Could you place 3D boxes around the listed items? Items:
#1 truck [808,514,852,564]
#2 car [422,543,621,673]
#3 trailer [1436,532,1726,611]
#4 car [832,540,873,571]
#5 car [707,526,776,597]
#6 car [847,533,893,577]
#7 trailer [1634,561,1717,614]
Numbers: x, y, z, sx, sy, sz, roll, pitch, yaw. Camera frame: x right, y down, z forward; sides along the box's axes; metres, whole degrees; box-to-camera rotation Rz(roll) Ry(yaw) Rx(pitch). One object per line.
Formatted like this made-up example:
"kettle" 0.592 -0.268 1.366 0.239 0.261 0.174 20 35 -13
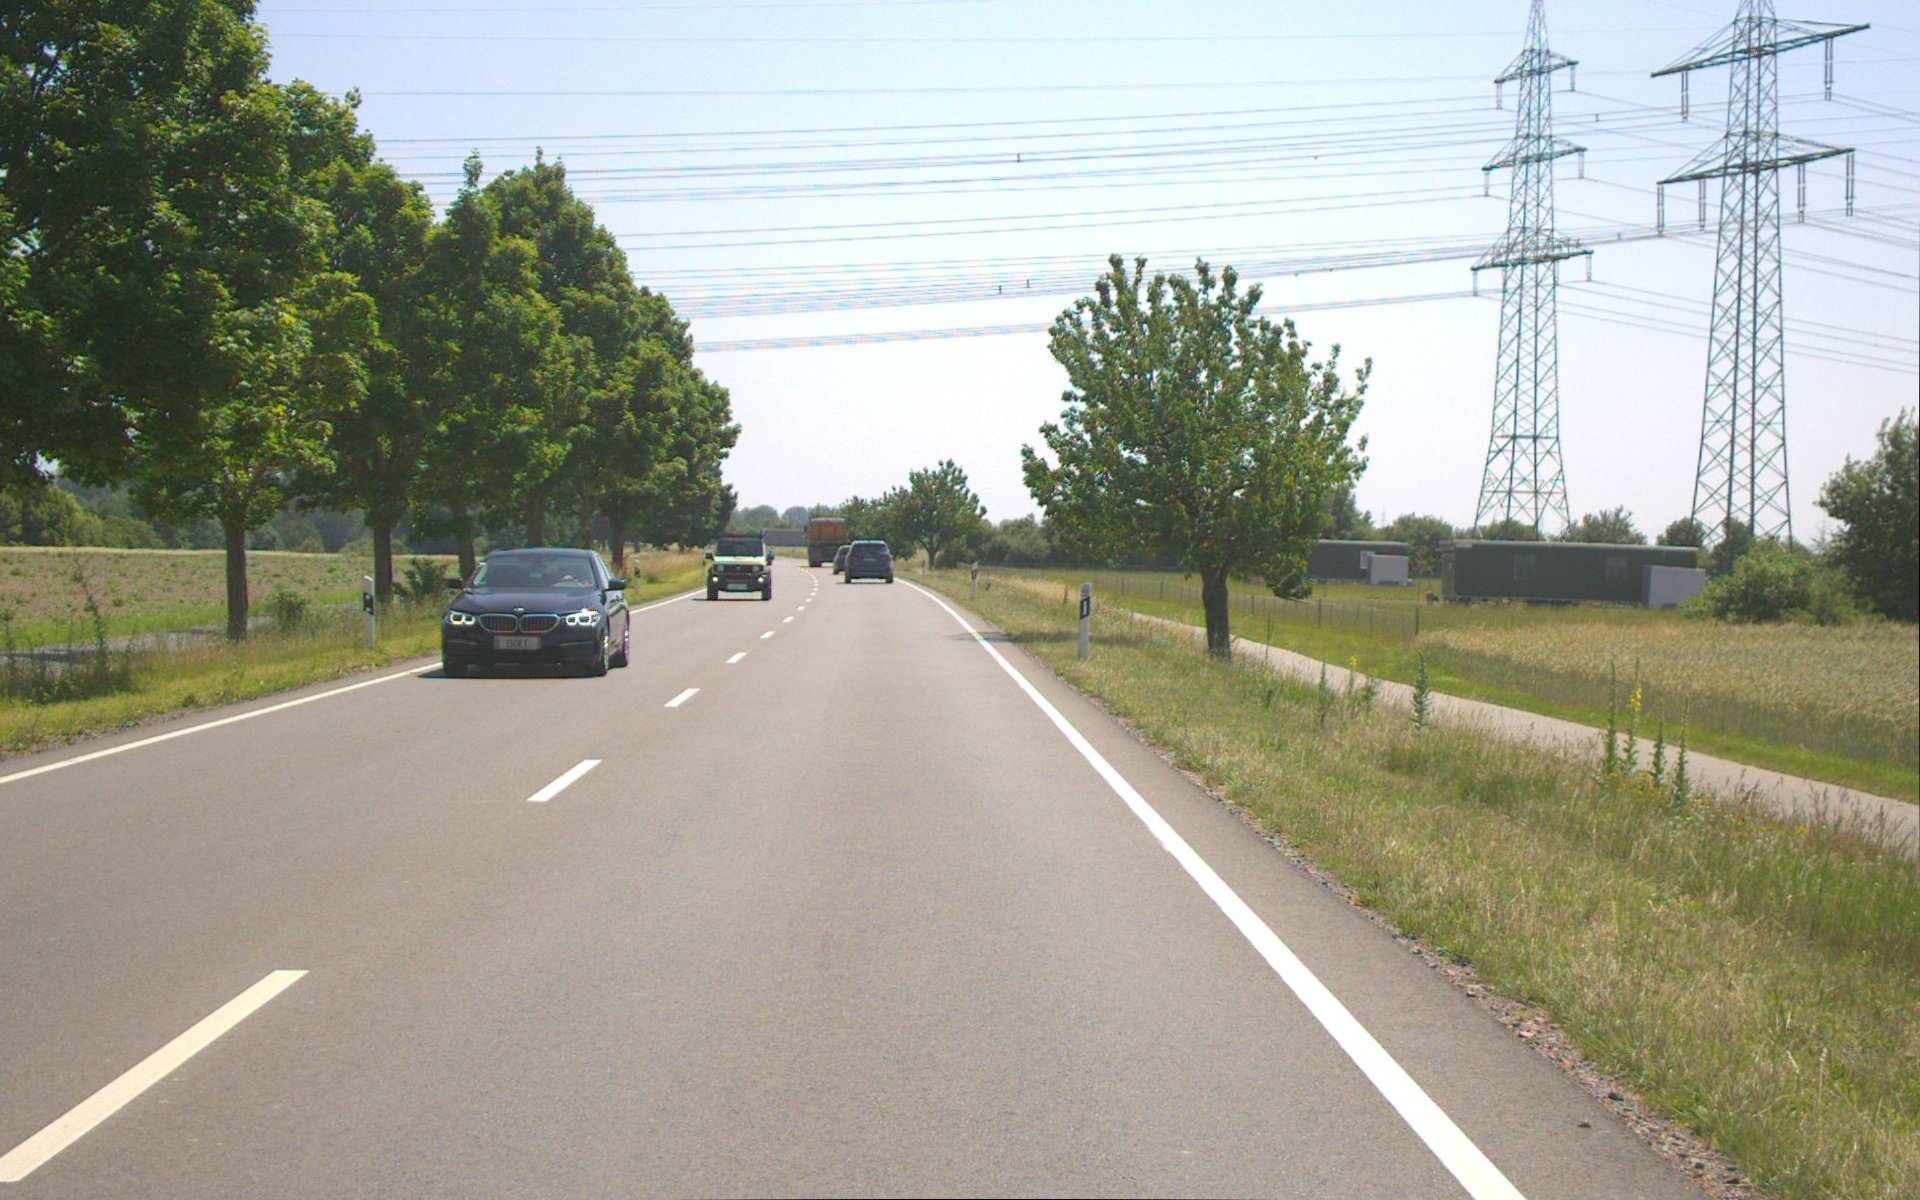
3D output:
"truck" -8.538 -4.008 225.261 2.370 3.129 8.749 1 1 -5
"car" -5.086 0.063 40.410 1.822 1.415 4.589 1 1 -1
"trailer" 30.443 -1.414 168.800 13.507 3.463 3.277 2 1 -3
"car" -5.413 -2.250 172.354 1.850 1.517 4.001 1 1 -4
"car" -5.986 -1.070 94.324 1.681 1.842 4.000 2 1 -1
"car" -3.548 -1.746 135.124 1.714 1.688 3.989 1 1 -2
"trailer" 34.580 -0.626 166.239 3.407 2.454 2.038 2 1 -3
